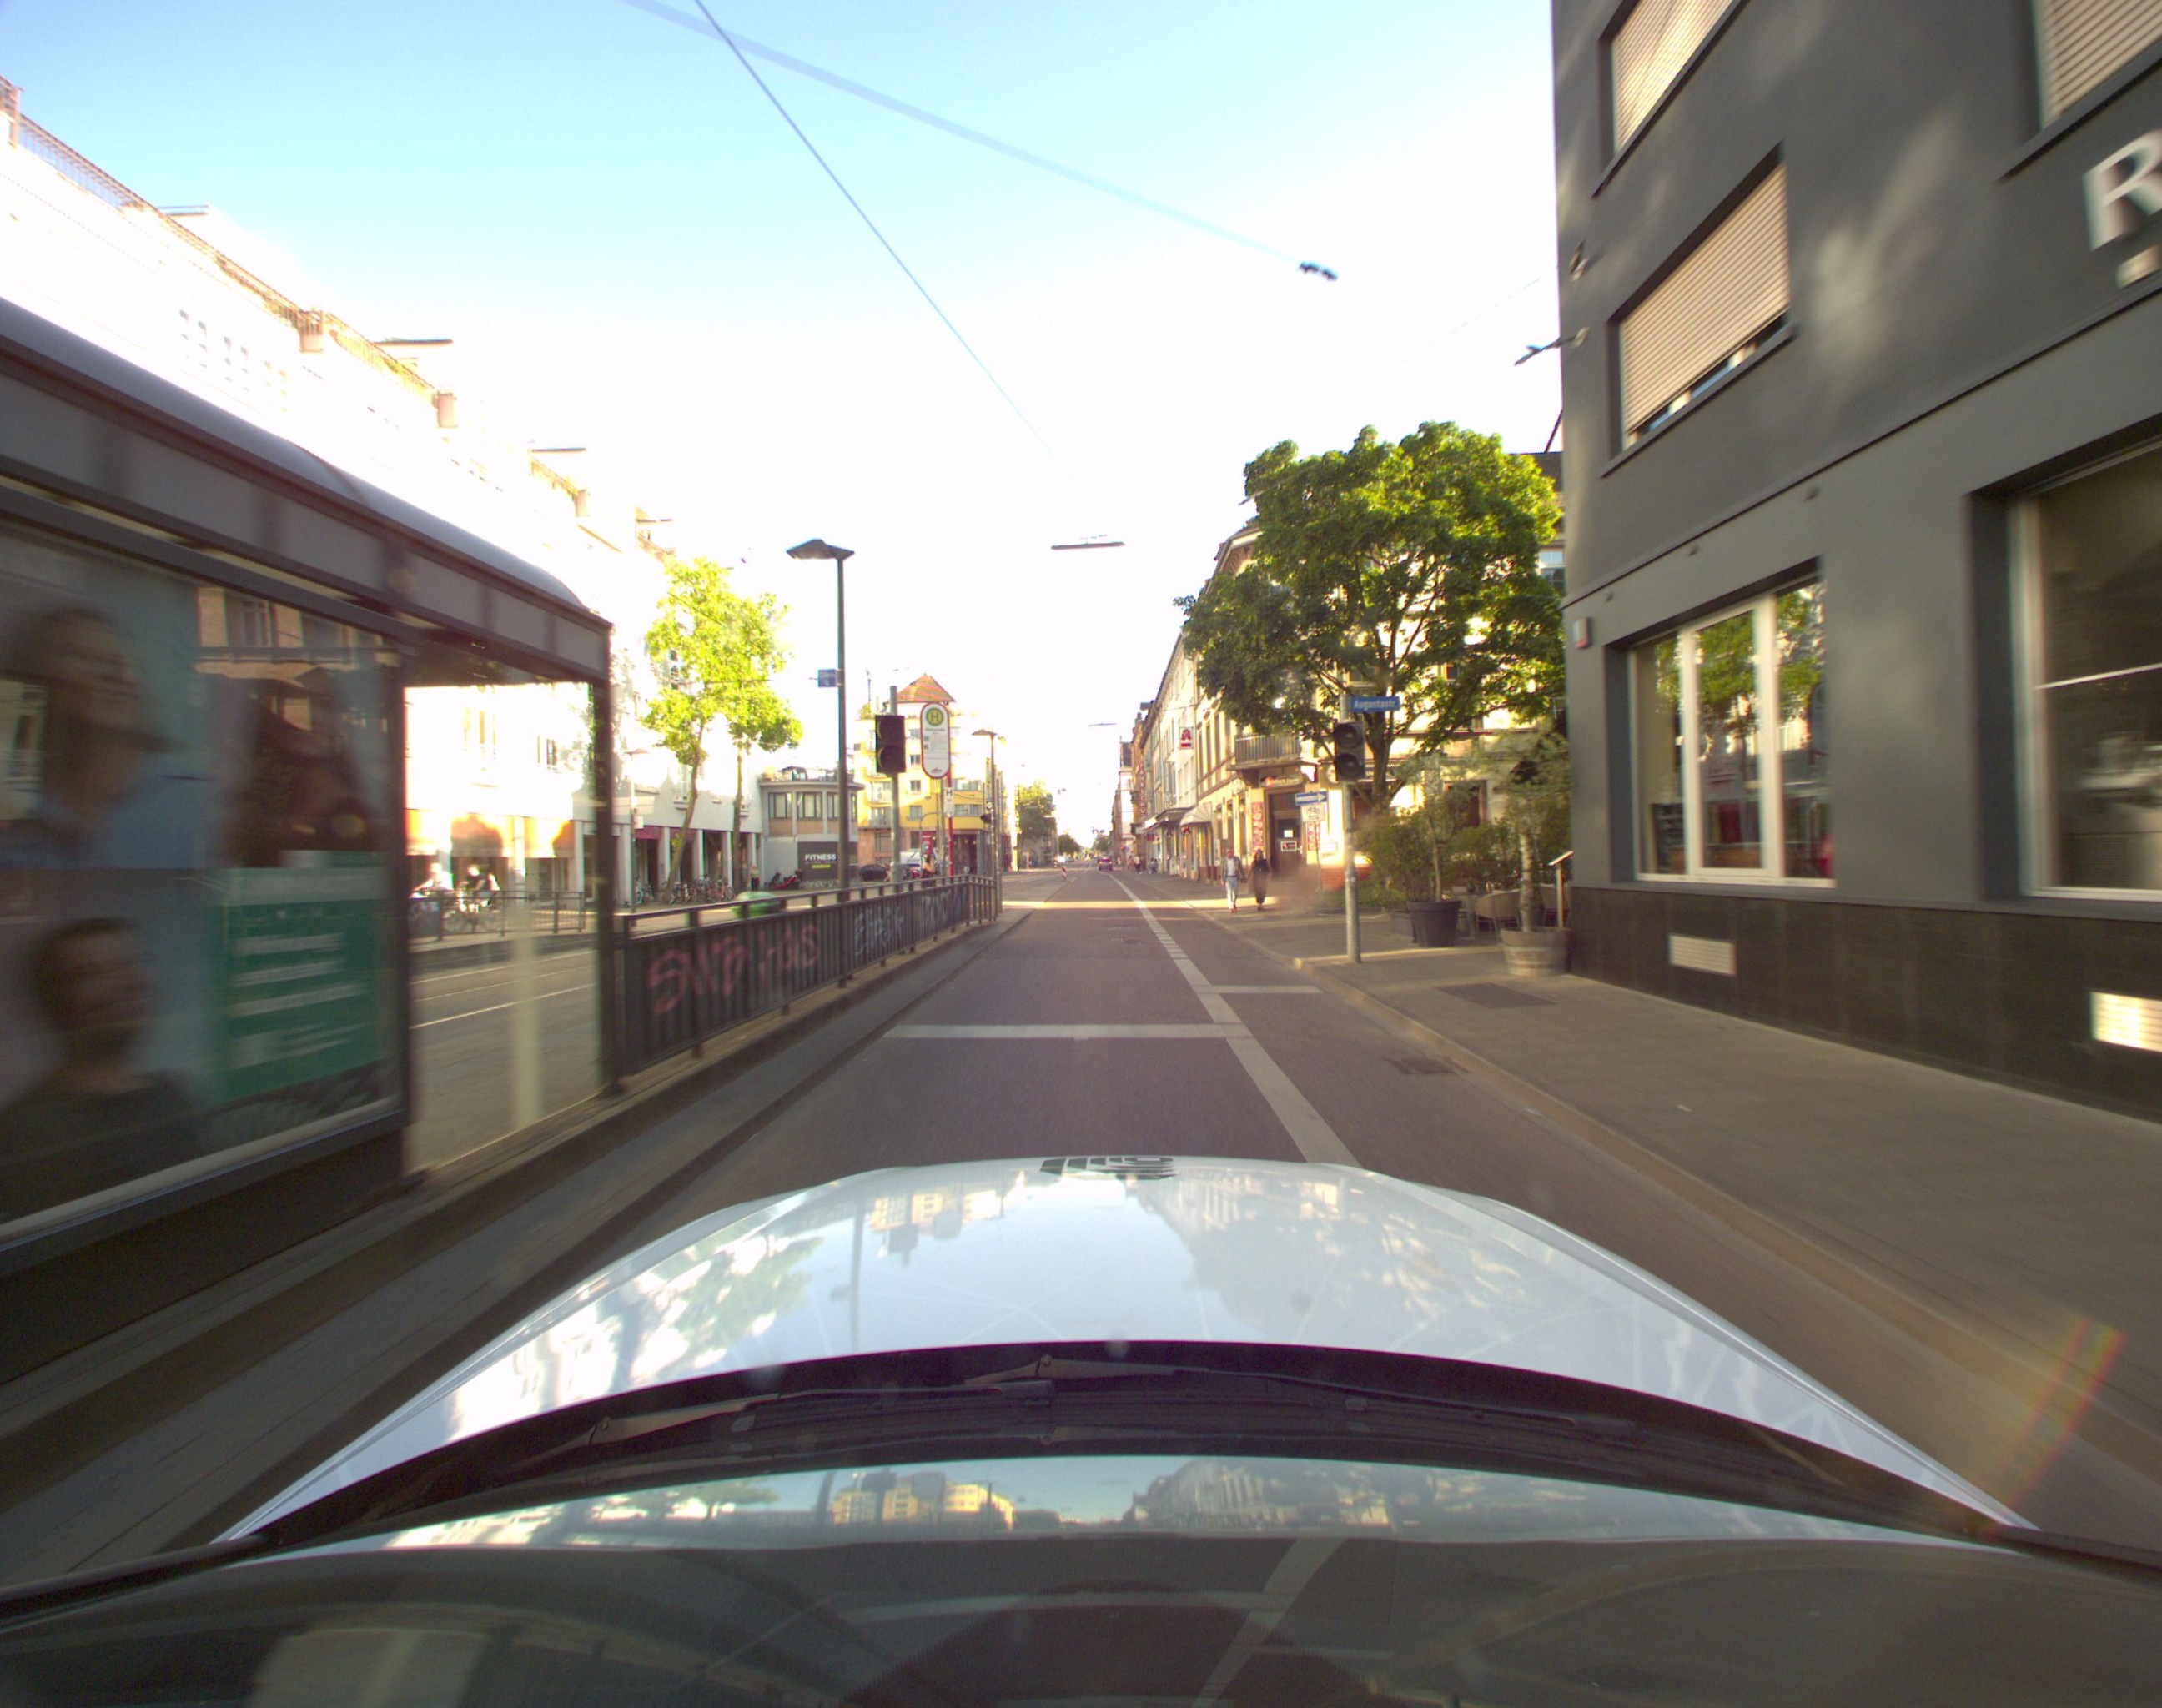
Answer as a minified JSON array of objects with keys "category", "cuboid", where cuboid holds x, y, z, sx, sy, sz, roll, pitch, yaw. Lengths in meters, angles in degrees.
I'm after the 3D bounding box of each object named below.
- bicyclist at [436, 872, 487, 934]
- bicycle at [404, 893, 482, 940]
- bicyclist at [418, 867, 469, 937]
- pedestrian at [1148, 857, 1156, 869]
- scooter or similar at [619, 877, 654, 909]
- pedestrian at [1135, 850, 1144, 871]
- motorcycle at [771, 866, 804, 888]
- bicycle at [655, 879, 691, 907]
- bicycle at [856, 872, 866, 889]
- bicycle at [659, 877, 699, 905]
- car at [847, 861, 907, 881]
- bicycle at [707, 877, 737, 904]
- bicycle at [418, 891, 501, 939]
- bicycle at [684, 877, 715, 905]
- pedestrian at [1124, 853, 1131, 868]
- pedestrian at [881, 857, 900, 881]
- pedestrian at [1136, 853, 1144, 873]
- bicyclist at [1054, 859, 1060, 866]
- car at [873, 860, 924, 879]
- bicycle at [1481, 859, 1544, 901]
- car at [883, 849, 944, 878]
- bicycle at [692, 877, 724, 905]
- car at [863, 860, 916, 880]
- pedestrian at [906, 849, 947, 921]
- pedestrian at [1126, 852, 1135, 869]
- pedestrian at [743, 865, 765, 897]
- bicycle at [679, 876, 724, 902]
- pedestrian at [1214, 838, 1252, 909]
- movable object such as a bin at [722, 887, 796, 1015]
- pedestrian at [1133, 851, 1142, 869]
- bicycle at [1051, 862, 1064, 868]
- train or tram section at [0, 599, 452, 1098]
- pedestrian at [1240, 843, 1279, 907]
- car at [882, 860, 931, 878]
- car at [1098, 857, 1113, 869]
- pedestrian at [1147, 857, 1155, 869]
[{"category":"bicyclist","cuboid":[-16.498,1.301,21.697,0.726,1.568,0.720,-2,0,1]},{"category":"bicycle","cuboid":[-17.470,1.696,22.356,0.653,1.107,1.801,-2,0,2]},{"category":"bicyclist","cuboid":[-17.489,1.289,22.348,0.653,1.835,0.845,-2,0,2]},{"category":"pedestrian","cuboid":[6.135,0.784,70.413,0.687,1.043,0.681,-2,0,5]},{"category":"scooter or similar","cuboid":[-18.064,1.580,33.128,0.495,1.193,1.276,1,1,13]},{"category":"pedestrian","cuboid":[5.117,0.588,71.311,0.645,1.796,0.562,-2,0,5]},{"category":"motorcycle","cuboid":[-17.670,1.379,49.061,1.791,1.298,0.605,1,0,-5]},{"category":"bicycle","cuboid":[-17.221,1.619,34.376,0.494,1.107,1.280,1,0,28]},{"category":"bicycle","cuboid":[-15.001,1.803,55.632,0.499,1.107,1.793,-2,0,-11]},{"category":"bicycle","cuboid":[-17.539,1.608,35.566,0.495,1.107,1.807,1,0,13]},{"category":"car","cuboid":[-16.431,1.348,65.745,4.303,1.510,1.801,-1,0,1]},{"category":"bicycle","cuboid":[-16.037,1.631,36.416,0.496,1.107,1.801,1,0,2]},{"category":"bicycle","cuboid":[-16.492,1.600,21.675,0.726,1.107,1.801,-2,0,2]},{"category":"bicycle","cuboid":[-16.837,1.621,35.979,0.496,1.107,1.801,1,0,2]},{"category":"pedestrian","cuboid":[6.020,0.800,105.194,0.840,1.918,0.847,-2,0,-1]},{"category":"pedestrian","cuboid":[-14.490,1.134,61.944,1.158,1.815,0.900,-1,0,-39]},{"category":"pedestrian","cuboid":[5.336,0.782,73.641,0.557,1.796,0.652,-2,0,8]},{"category":"bicyclist","cuboid":[-3.881,1.375,132.766,0.704,1.221,0.758,-2,0,19]},{"category":"car","cuboid":[-15.908,1.345,71.011,3.972,1.510,1.801,-1,0,1]},{"category":"bicycle","cuboid":[10.804,0.648,20.410,1.309,1.014,0.461,-2,1,20]},{"category":"car","cuboid":[-15.607,0.851,76.123,5.086,2.576,2.129,-1,0,1]},{"category":"bicycle","cuboid":[-16.413,1.625,35.862,0.496,1.107,1.801,1,0,2]},{"category":"car","cuboid":[-16.070,1.341,68.431,3.972,1.510,1.801,-1,0,1]},{"category":"pedestrian","cuboid":[-3.789,0.739,20.024,0.867,1.714,0.787,0,1,-2]},{"category":"pedestrian","cuboid":[5.673,0.748,93.412,0.840,1.918,0.661,-2,0,-1]},{"category":"pedestrian","cuboid":[-17.256,1.407,42.980,1.019,1.661,0.914,1,-1,-25]},{"category":"bicycle","cuboid":[-17.336,1.595,37.228,0.494,1.107,1.811,1,0,41]},{"category":"pedestrian","cuboid":[3.990,0.490,21.449,0.711,1.774,0.772,-5,1,-2]},{"category":"movable object such as a bin","cuboid":[-2.563,0.757,6.513,0.351,0.944,0.530,-2,0,0]},{"category":"pedestrian","cuboid":[6.114,0.692,88.766,0.846,1.918,1.034,-2,0,-1]},{"category":"bicycle","cuboid":[-3.841,1.808,132.754,1.918,1.003,0.758,-2,0,18]},{"category":"train or tram section","cuboid":[-9.106,-0.076,2.172,2.874,3.490,14.954,0,-1,2]},{"category":"pedestrian","cuboid":[4.725,0.538,21.608,0.711,1.602,0.772,-5,1,-2]},{"category":"car","cuboid":[-15.718,1.347,73.541,3.972,1.510,1.801,-1,0,1]},{"category":"car","cuboid":[3.188,1.184,106.348,1.986,1.449,4.001,-1,0,1]},{"category":"pedestrian","cuboid":[6.130,0.792,71.138,0.687,1.043,0.681,-2,0,5]}]
